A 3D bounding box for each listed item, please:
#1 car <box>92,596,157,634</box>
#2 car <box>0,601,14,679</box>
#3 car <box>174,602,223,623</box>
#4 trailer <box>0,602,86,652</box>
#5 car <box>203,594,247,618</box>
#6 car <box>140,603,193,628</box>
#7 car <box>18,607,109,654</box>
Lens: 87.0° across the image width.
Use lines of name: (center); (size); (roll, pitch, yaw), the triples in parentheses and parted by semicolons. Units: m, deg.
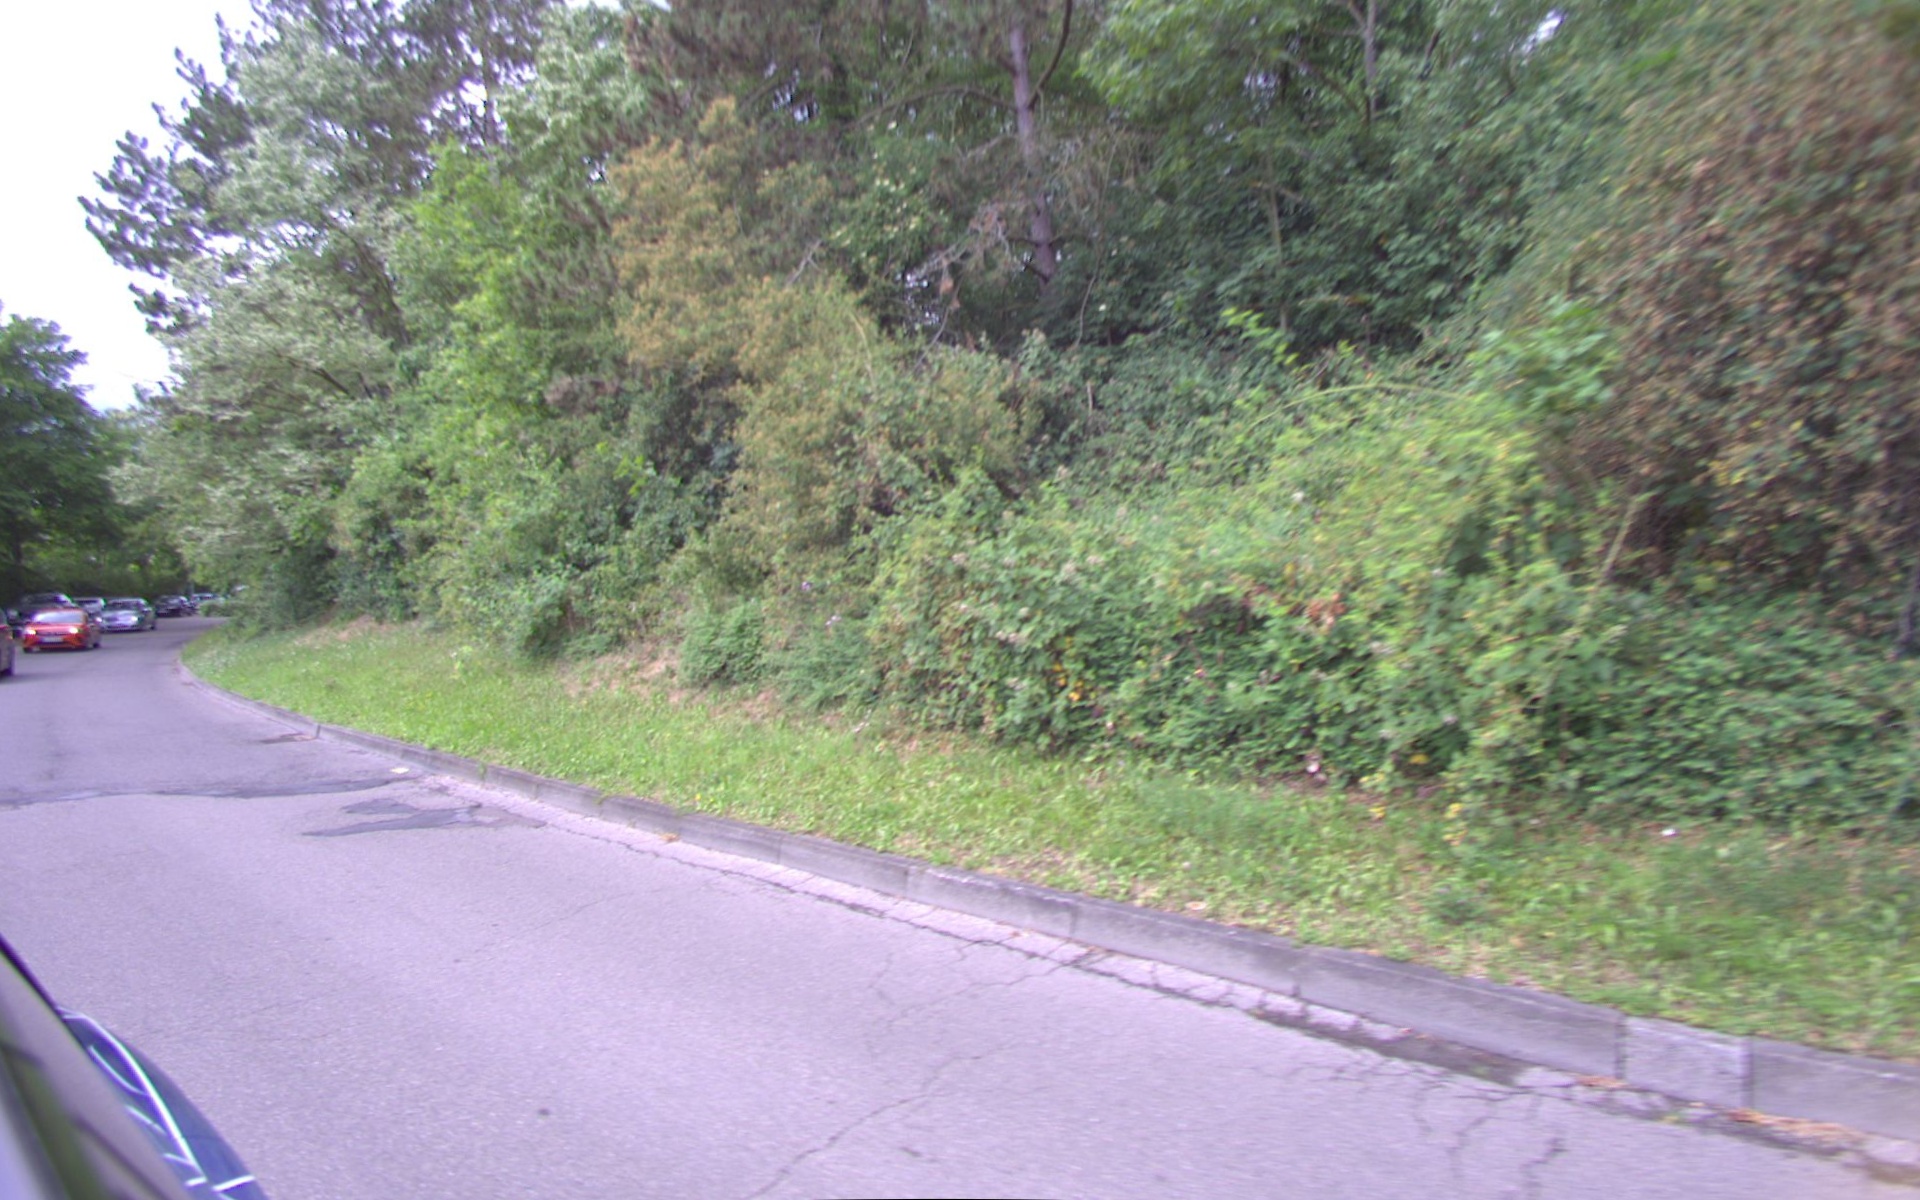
car: (-40.042, 0.694, 48.584); (1.892, 1.694, 4.011); (1, 0, -33)
car: (-21.679, 0.883, 21.505); (1.968, 1.640, 4.634); (-2, 1, -39)
car: (-55.675, 0.898, 74.046); (1.836, 1.459, 4.190); (-2, 1, -23)
trailer: (-42.536, 1.194, 46.938); (1.966, 1.947, 5.912); (-1, 2, -30)
car: (-49.930, 0.394, 68.811); (1.739, 1.528, 4.013); (-2, 2, -27)
car: (-53.185, 1.008, 67.915); (1.836, 1.579, 4.190); (-2, 1, -25)
car: (-31.198, 1.024, 35.330); (1.837, 1.459, 4.186); (-2, 1, -35)
